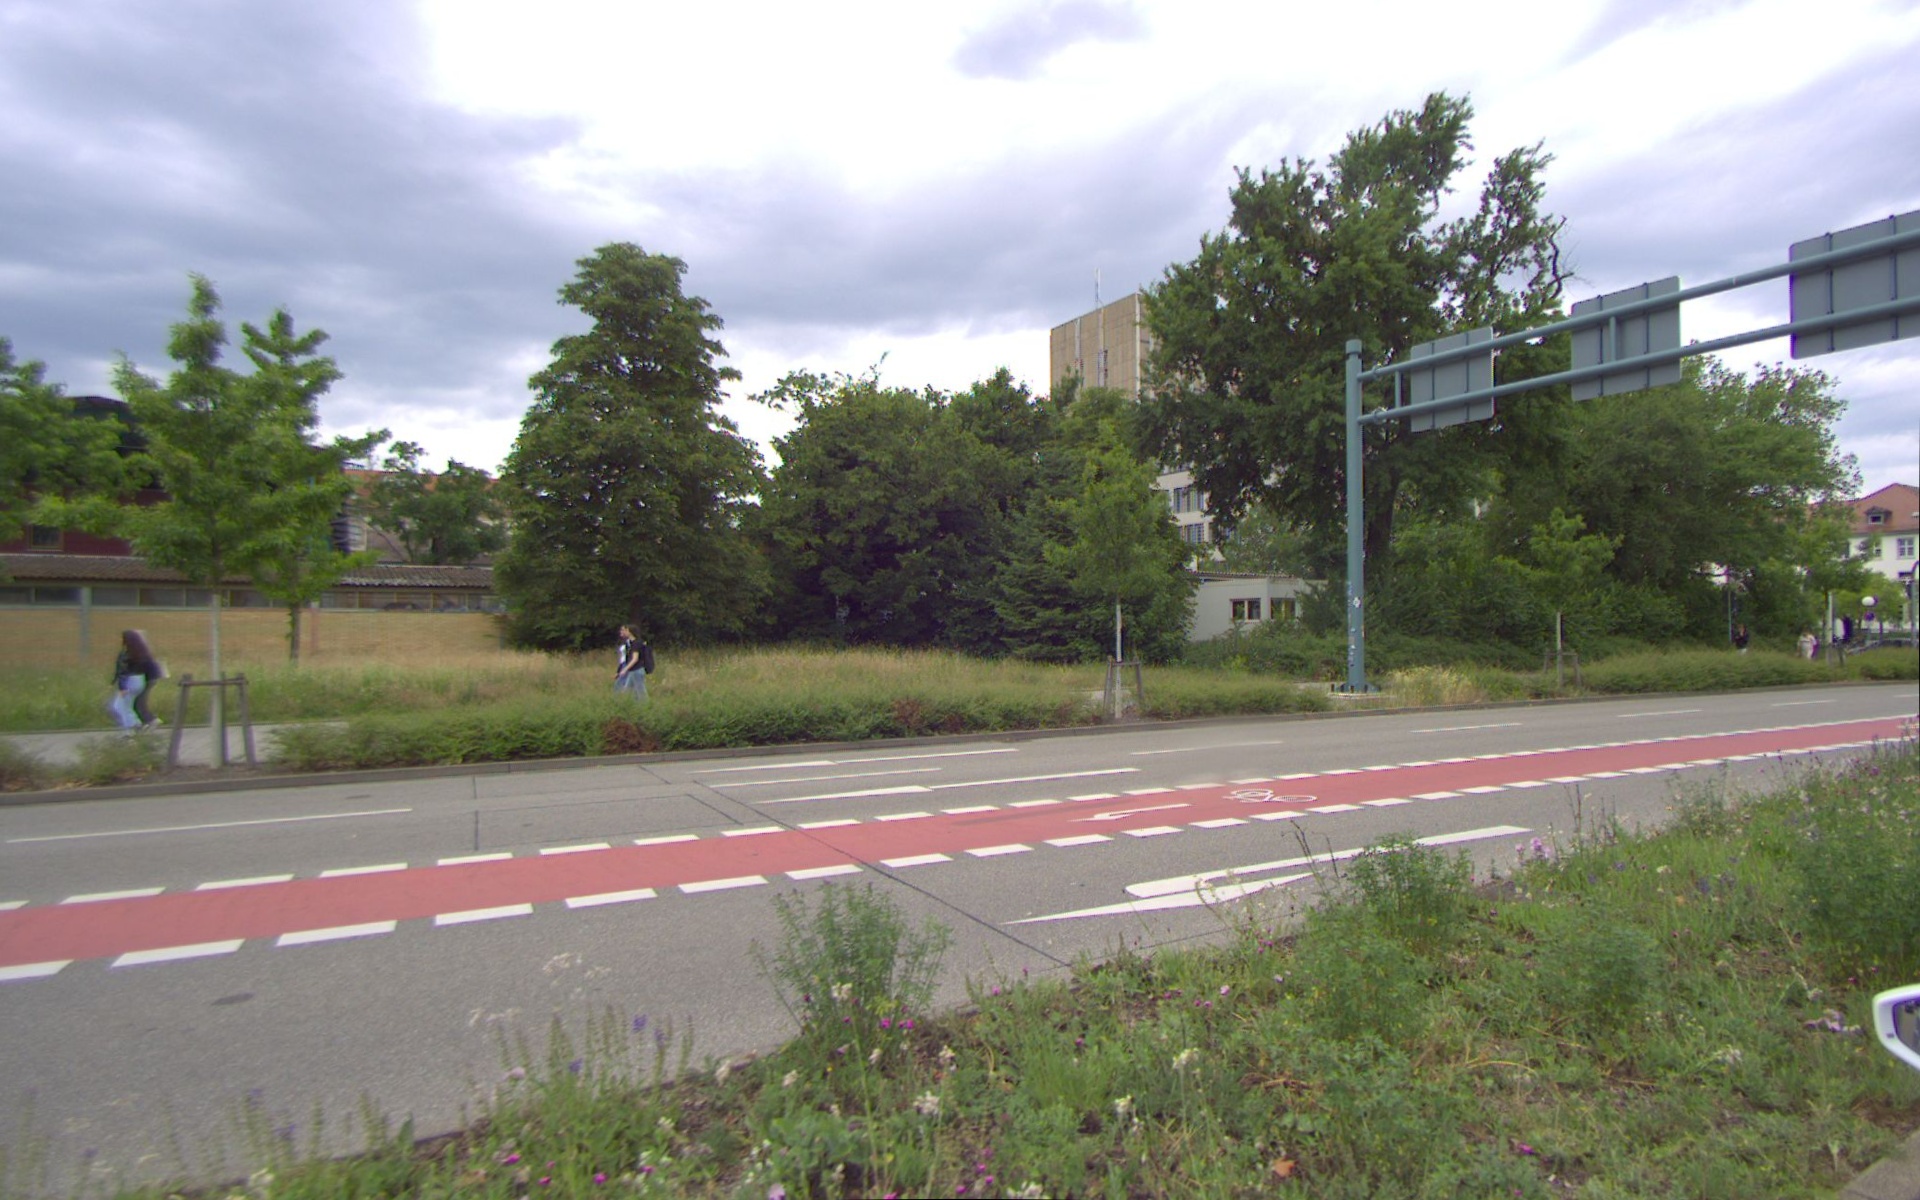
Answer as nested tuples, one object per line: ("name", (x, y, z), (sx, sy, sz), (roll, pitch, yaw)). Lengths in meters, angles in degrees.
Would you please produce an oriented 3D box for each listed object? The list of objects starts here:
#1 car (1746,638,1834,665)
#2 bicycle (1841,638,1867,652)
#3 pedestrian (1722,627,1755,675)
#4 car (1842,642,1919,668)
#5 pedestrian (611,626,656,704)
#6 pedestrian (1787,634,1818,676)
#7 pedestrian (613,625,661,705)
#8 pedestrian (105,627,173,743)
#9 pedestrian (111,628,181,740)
("car", (51.450, 3.193, 62.307), (1.612, 1.472, 4.010), (-6, 2, -44))
("bicycle", (67.199, 3.372, 75.507), (1.386, 1.066, 0.585), (-4, -4, 43))
("pedestrian", (28.664, 1.879, 36.965), (0.808, 1.752, 0.618), (0, -3, -28))
("car", (54.265, 3.184, 58.843), (1.546, 1.240, 3.634), (-7, 3, -33))
("pedestrian", (-5.998, 1.187, 18.450), (0.672, 1.380, 0.642), (0, -3, -30))
("pedestrian", (33.532, 2.178, 39.970), (0.663, 1.657, 0.697), (0, -3, -28))
("pedestrian", (-5.735, 1.141, 17.826), (0.703, 1.375, 0.642), (0, -3, -29))
("pedestrian", (-12.352, 1.265, 15.130), (0.713, 1.682, 0.582), (1, -3, -34))
("pedestrian", (-12.704, 1.295, 15.701), (0.759, 1.694, 0.703), (1, -3, -33))
